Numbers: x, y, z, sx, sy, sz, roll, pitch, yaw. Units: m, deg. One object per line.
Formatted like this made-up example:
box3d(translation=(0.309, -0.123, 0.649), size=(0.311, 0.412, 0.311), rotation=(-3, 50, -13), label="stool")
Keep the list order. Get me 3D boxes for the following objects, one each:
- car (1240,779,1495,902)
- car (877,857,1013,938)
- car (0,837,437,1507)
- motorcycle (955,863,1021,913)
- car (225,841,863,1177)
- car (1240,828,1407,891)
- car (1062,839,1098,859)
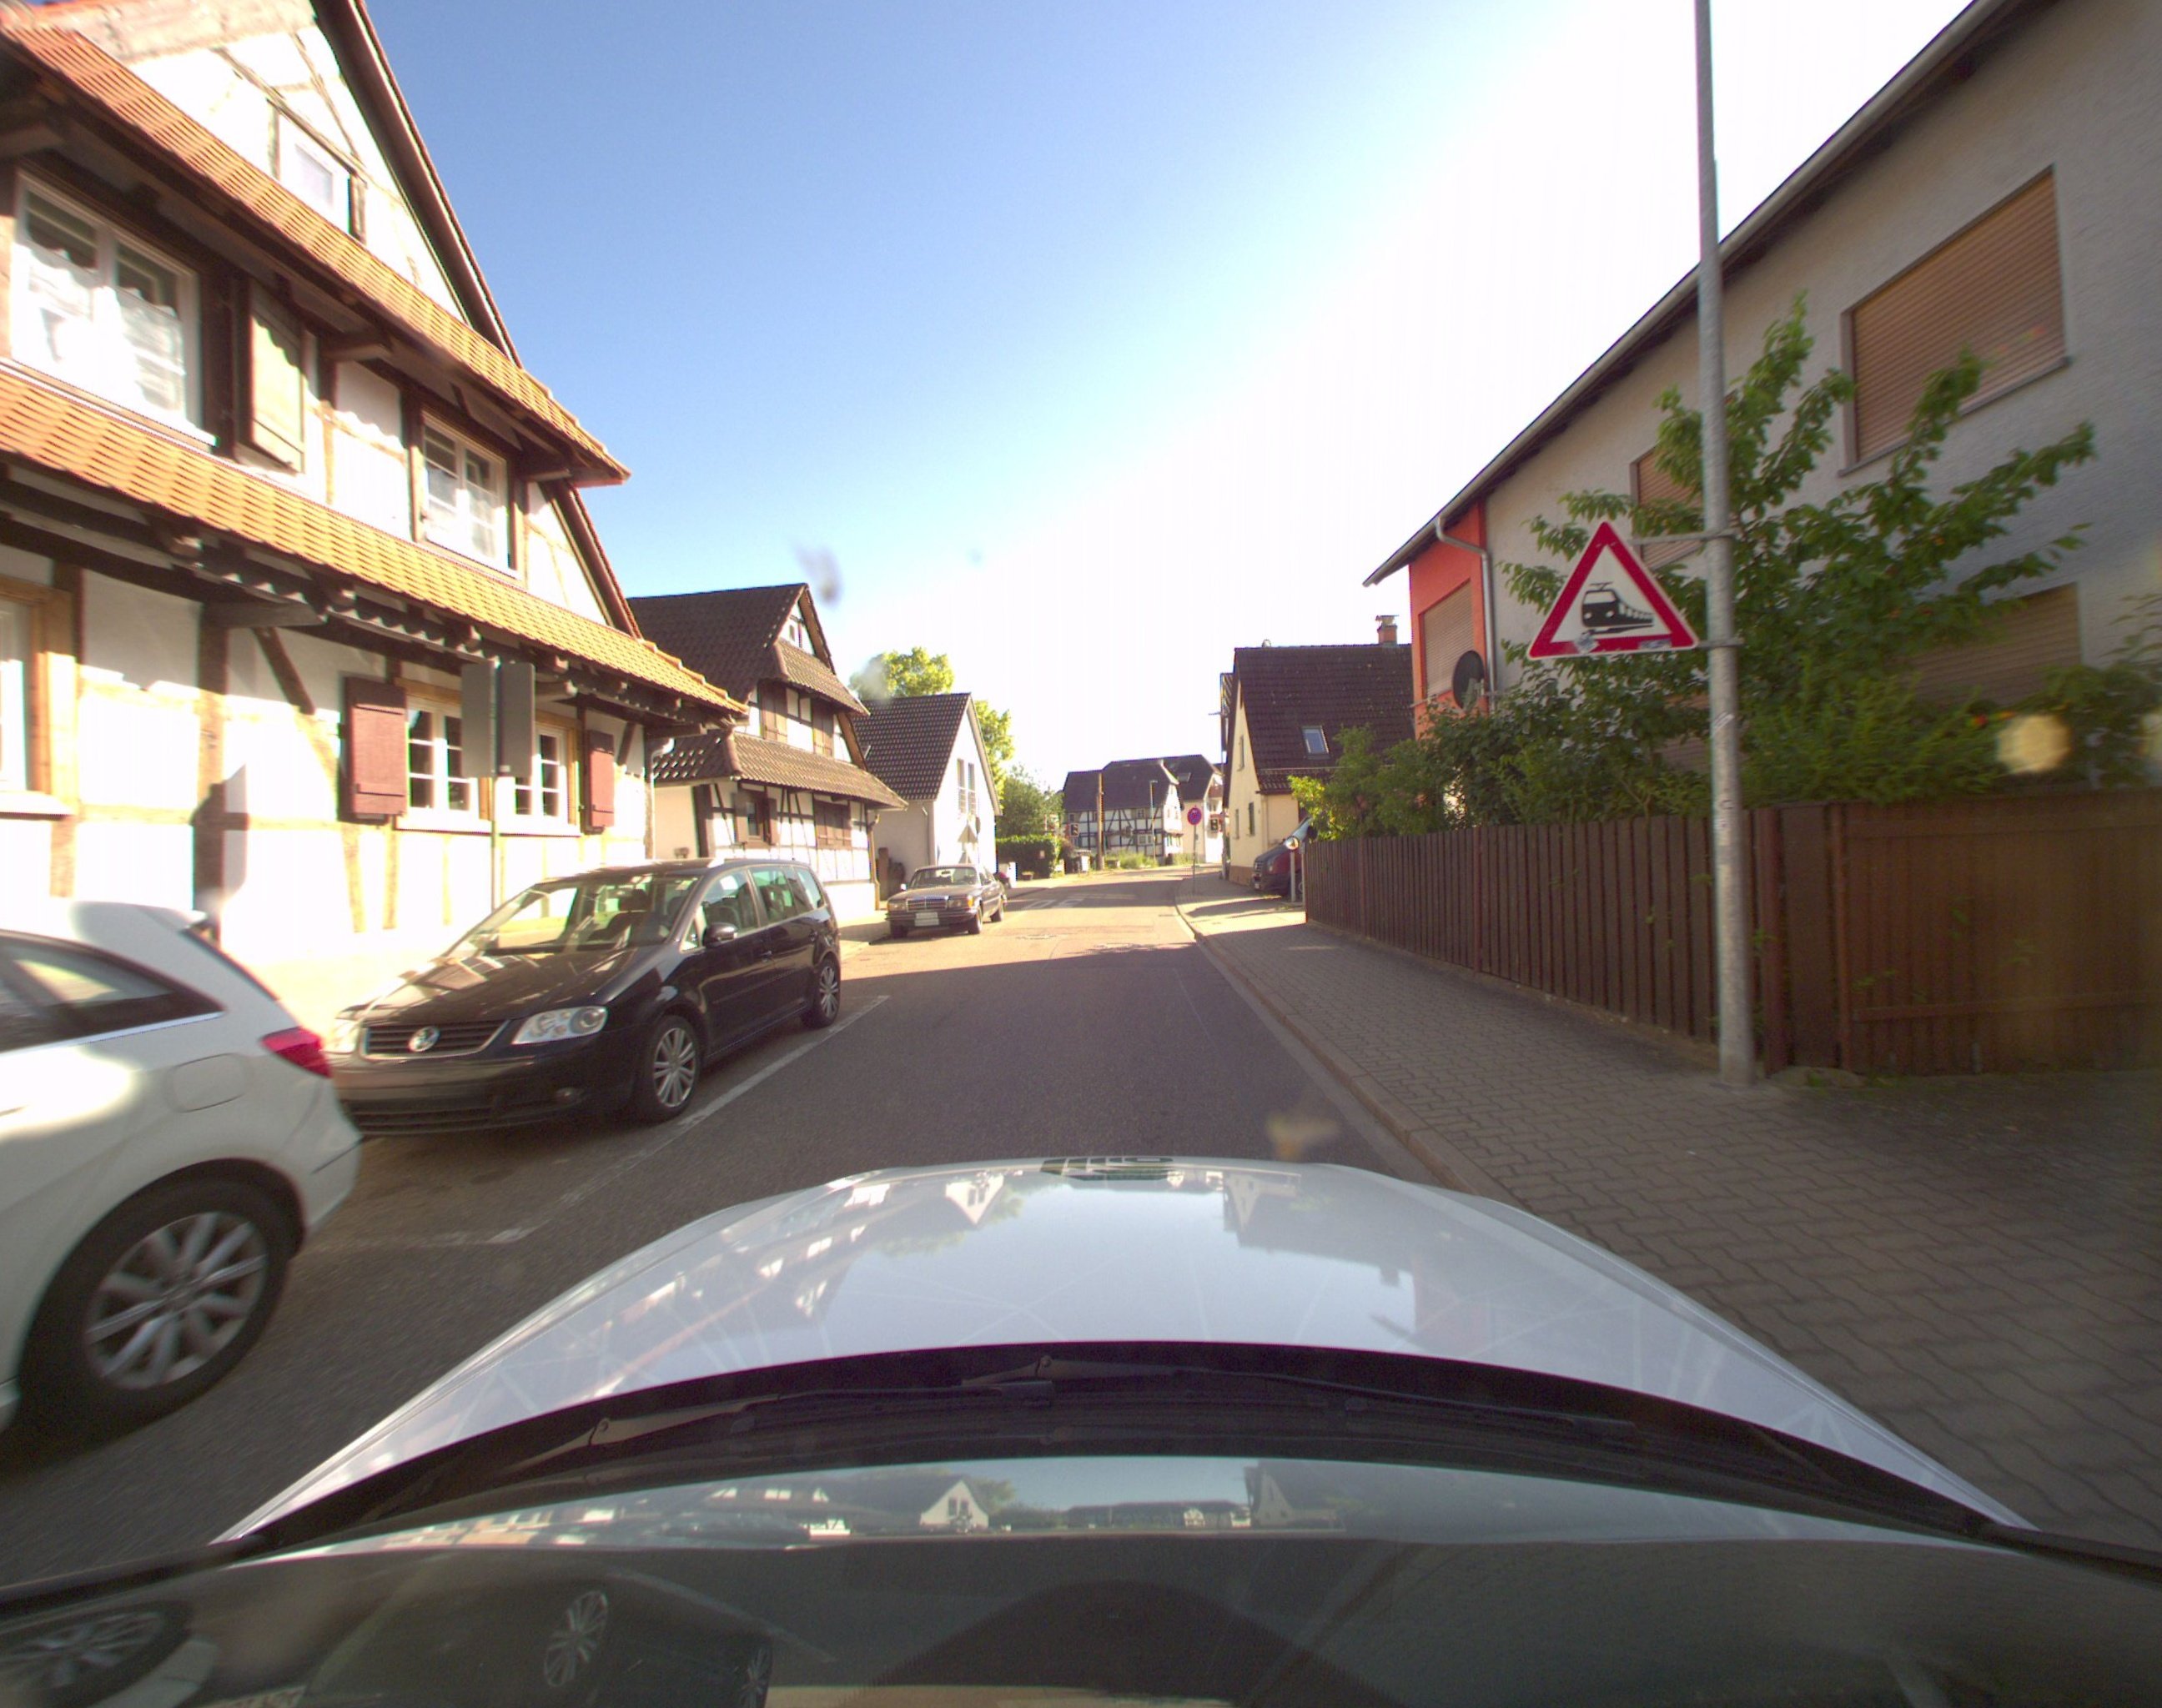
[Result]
box3d(translation=(7.312, -0.331, 21.164), size=(5.788, 2.655, 1.966), rotation=(-4, -1, -2), label="car")
box3d(translation=(-2.788, 0.838, 17.892), size=(1.837, 1.406, 5.040), rotation=(-4, -1, 3), label="car")
box3d(translation=(-3.501, 0.776, 1.071), size=(1.809, 1.567, 4.171), rotation=(-2, -1, 3), label="car")
box3d(translation=(-2.484, 0.900, 21.508), size=(0.630, 1.231, 1.970), rotation=(-3, 0, -43), label="motorcycle")
box3d(translation=(-3.272, 0.781, 6.233), size=(1.776, 1.604, 4.364), rotation=(-2, 0, 3), label="car")
box3d(translation=(7.151, 0.176, 24.332), size=(4.359, 1.487, 1.840), rotation=(-4, -1, 0), label="car")
box3d(translation=(-0.126, -0.373, 66.687), size=(1.689, 1.564, 3.972), rotation=(0, -1, -21), label="car")
